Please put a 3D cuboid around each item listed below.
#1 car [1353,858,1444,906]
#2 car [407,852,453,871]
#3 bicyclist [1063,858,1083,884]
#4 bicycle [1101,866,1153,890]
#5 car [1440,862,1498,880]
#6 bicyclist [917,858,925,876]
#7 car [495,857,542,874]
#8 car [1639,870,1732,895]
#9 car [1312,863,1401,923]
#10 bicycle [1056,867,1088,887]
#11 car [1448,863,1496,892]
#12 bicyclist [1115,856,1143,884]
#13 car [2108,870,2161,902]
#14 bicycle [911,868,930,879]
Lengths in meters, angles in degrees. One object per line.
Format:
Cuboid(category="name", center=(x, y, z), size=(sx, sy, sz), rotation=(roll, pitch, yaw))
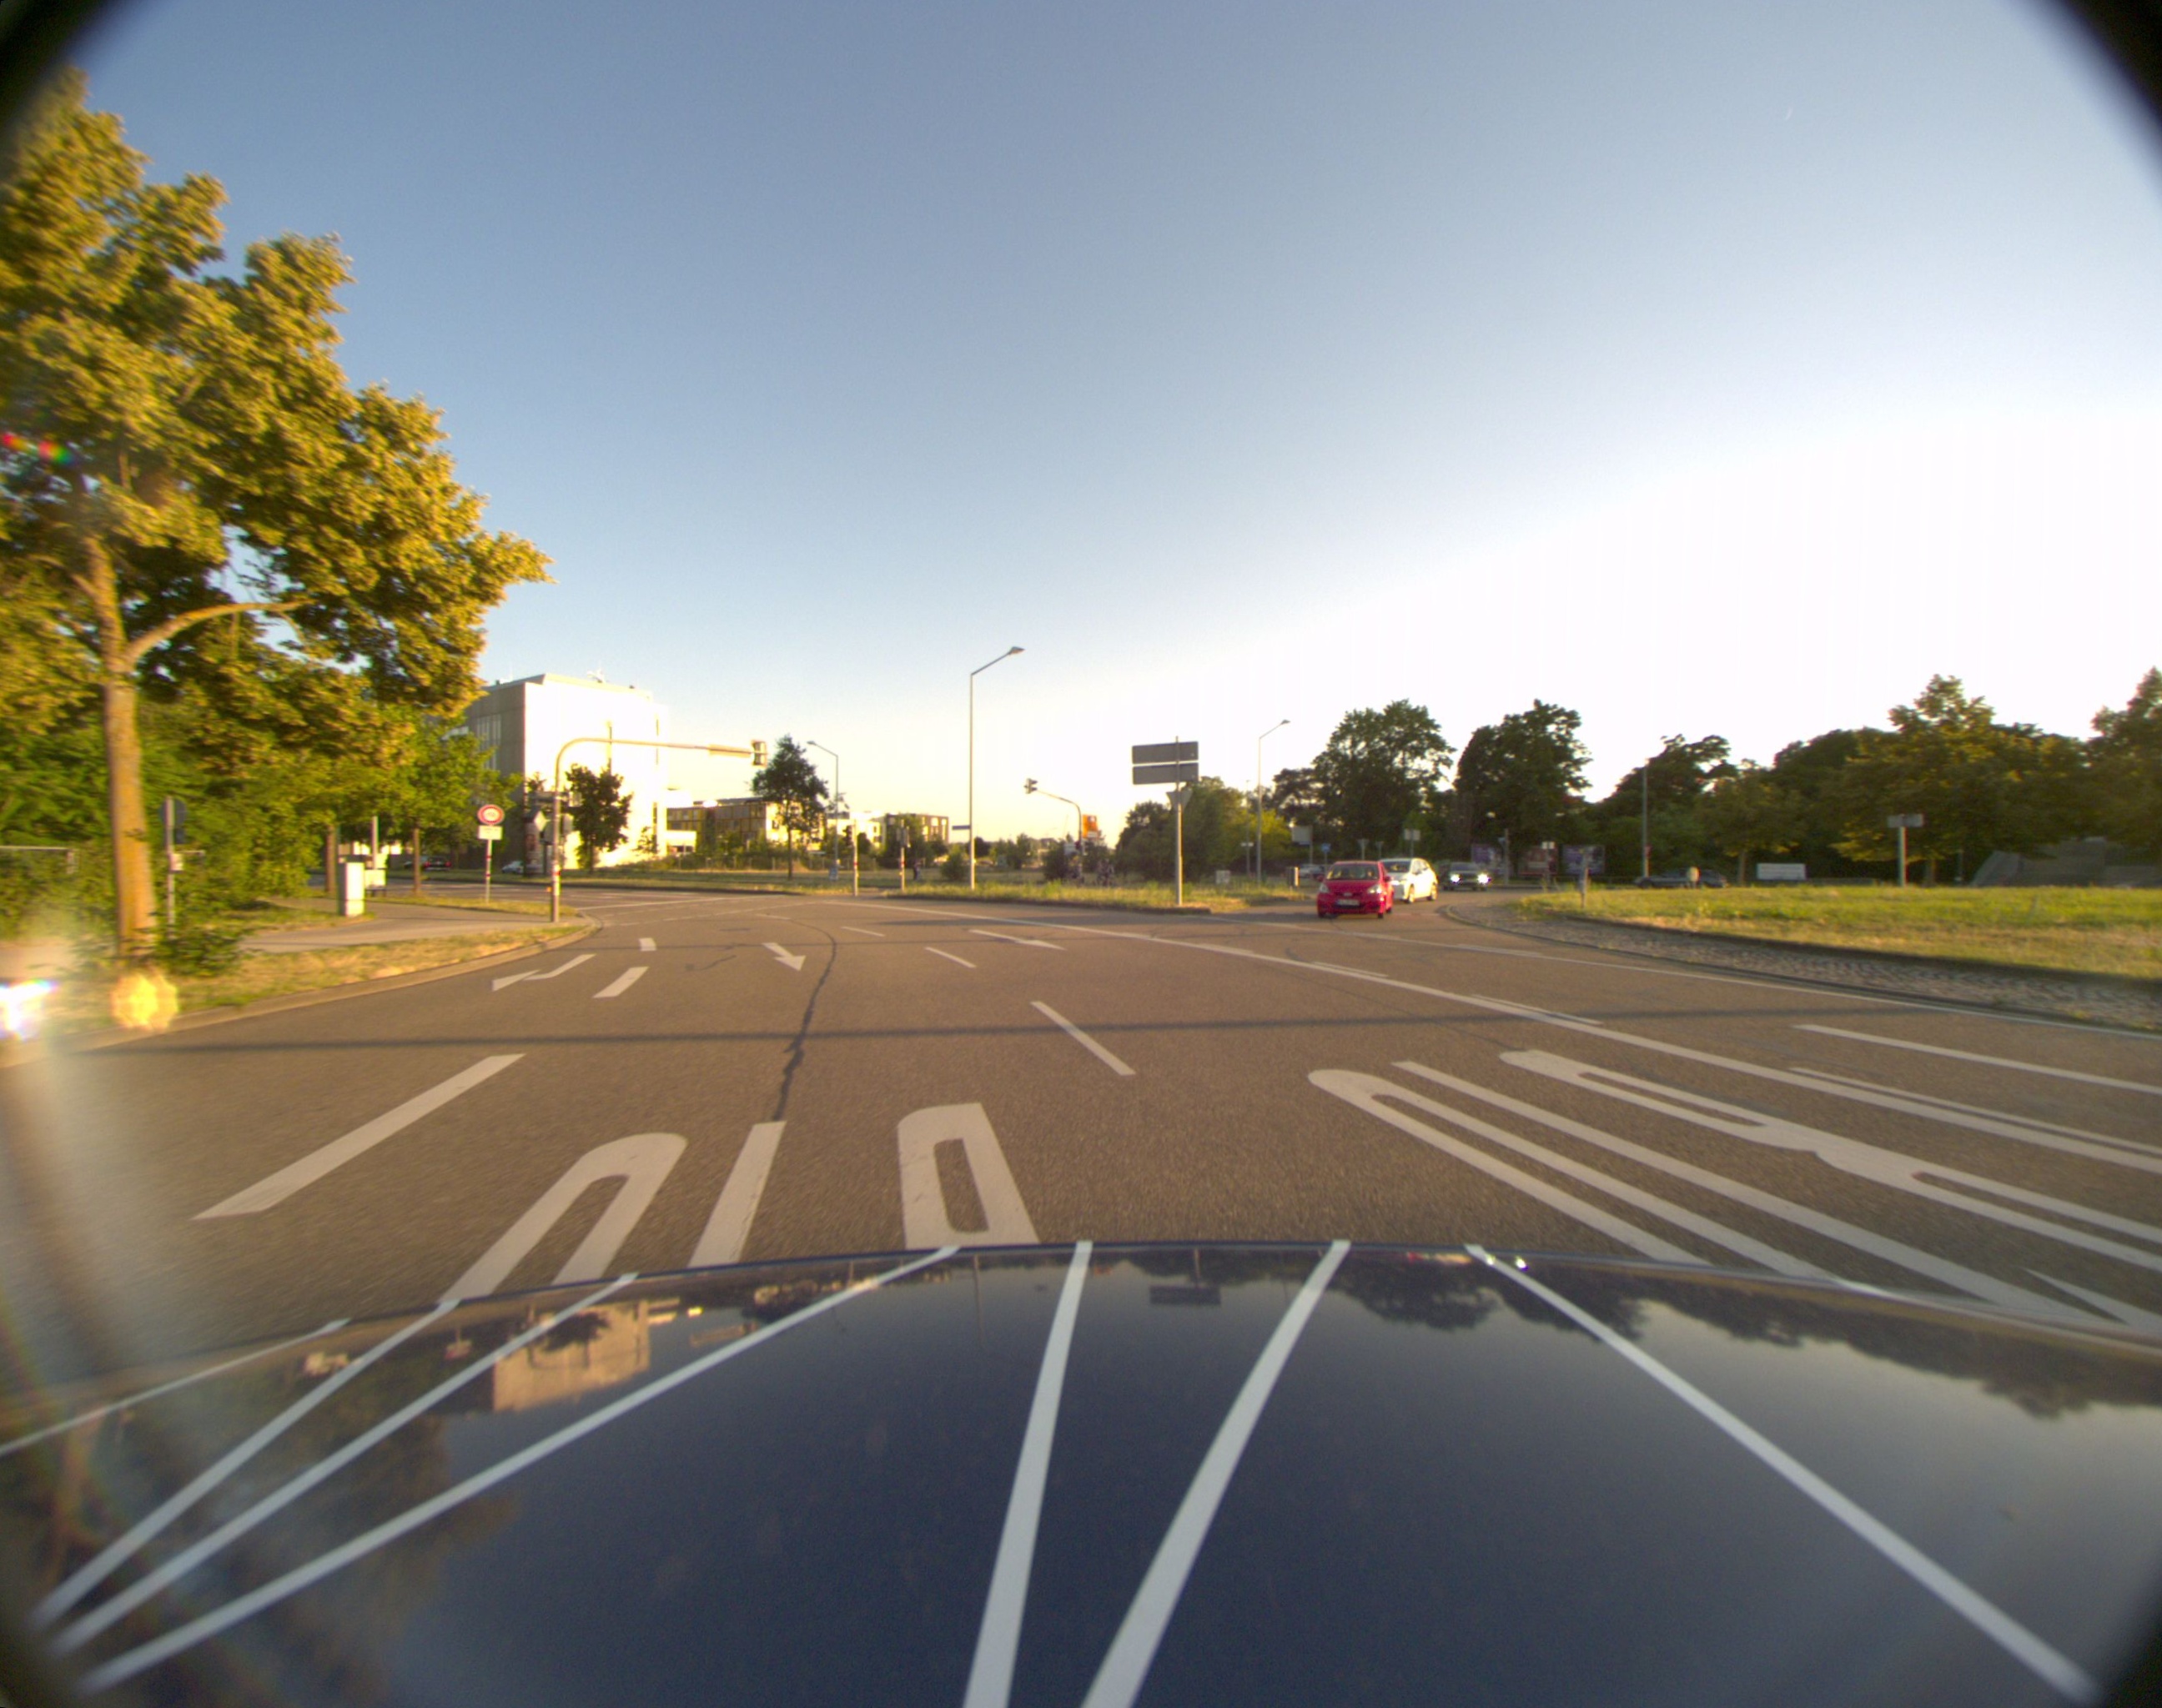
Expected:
Cuboid(category="car", center=(11.318, 0.933, 26.926), size=(1.755, 1.549, 4.224), rotation=(0, 0, 40))
Cuboid(category="car", center=(-61.760, 0.693, 72.092), size=(4.120, 1.740, 2.004), rotation=(0, 0, 29))
Cuboid(category="bicyclist", center=(-0.512, 1.040, 48.147), size=(0.808, 1.623, 1.003), rotation=(1, 1, 36))
Cuboid(category="bicycle", center=(2.952, 1.505, 48.456), size=(3.547, 1.387, 1.120), rotation=(0, 0, -42))
Cuboid(category="car", center=(31.355, 1.377, 61.451), size=(1.948, 1.423, 3.742), rotation=(0, -1, -28))
Cuboid(category="bicyclist", center=(-12.304, 0.998, 58.427), size=(0.447, 1.389, 0.475), rotation=(0, 0, 26))
Cuboid(category="car", center=(-52.376, 1.038, 70.786), size=(4.120, 1.538, 2.004), rotation=(0, 0, 29))
Cuboid(category="car", center=(38.552, 1.778, 48.553), size=(1.949, 1.423, 4.391), rotation=(0, -1, -41))
Cuboid(category="car", center=(7.383, 0.943, 20.130), size=(1.690, 1.413, 4.219), rotation=(0, 0, 27))
Cuboid(category="bicycle", center=(-0.533, 1.430, 48.114), size=(0.808, 1.172, 2.334), rotation=(1, 0, 36))
Cuboid(category="car", center=(21.848, 1.265, 42.405), size=(1.823, 1.549, 4.224), rotation=(0, 0, 35))
Cuboid(category="bicyclist", center=(3.046, 1.007, 48.456), size=(1.420, 1.739, 1.120), rotation=(0, 1, -42))
Cuboid(category="car", center=(50.036, 1.446, 34.144), size=(1.949, 1.423, 4.390), rotation=(0, -1, -45))
Cuboid(category="bicycle", center=(-12.318, 1.482, 58.441), size=(1.415, 0.787, 0.475), rotation=(0, 0, 26))
